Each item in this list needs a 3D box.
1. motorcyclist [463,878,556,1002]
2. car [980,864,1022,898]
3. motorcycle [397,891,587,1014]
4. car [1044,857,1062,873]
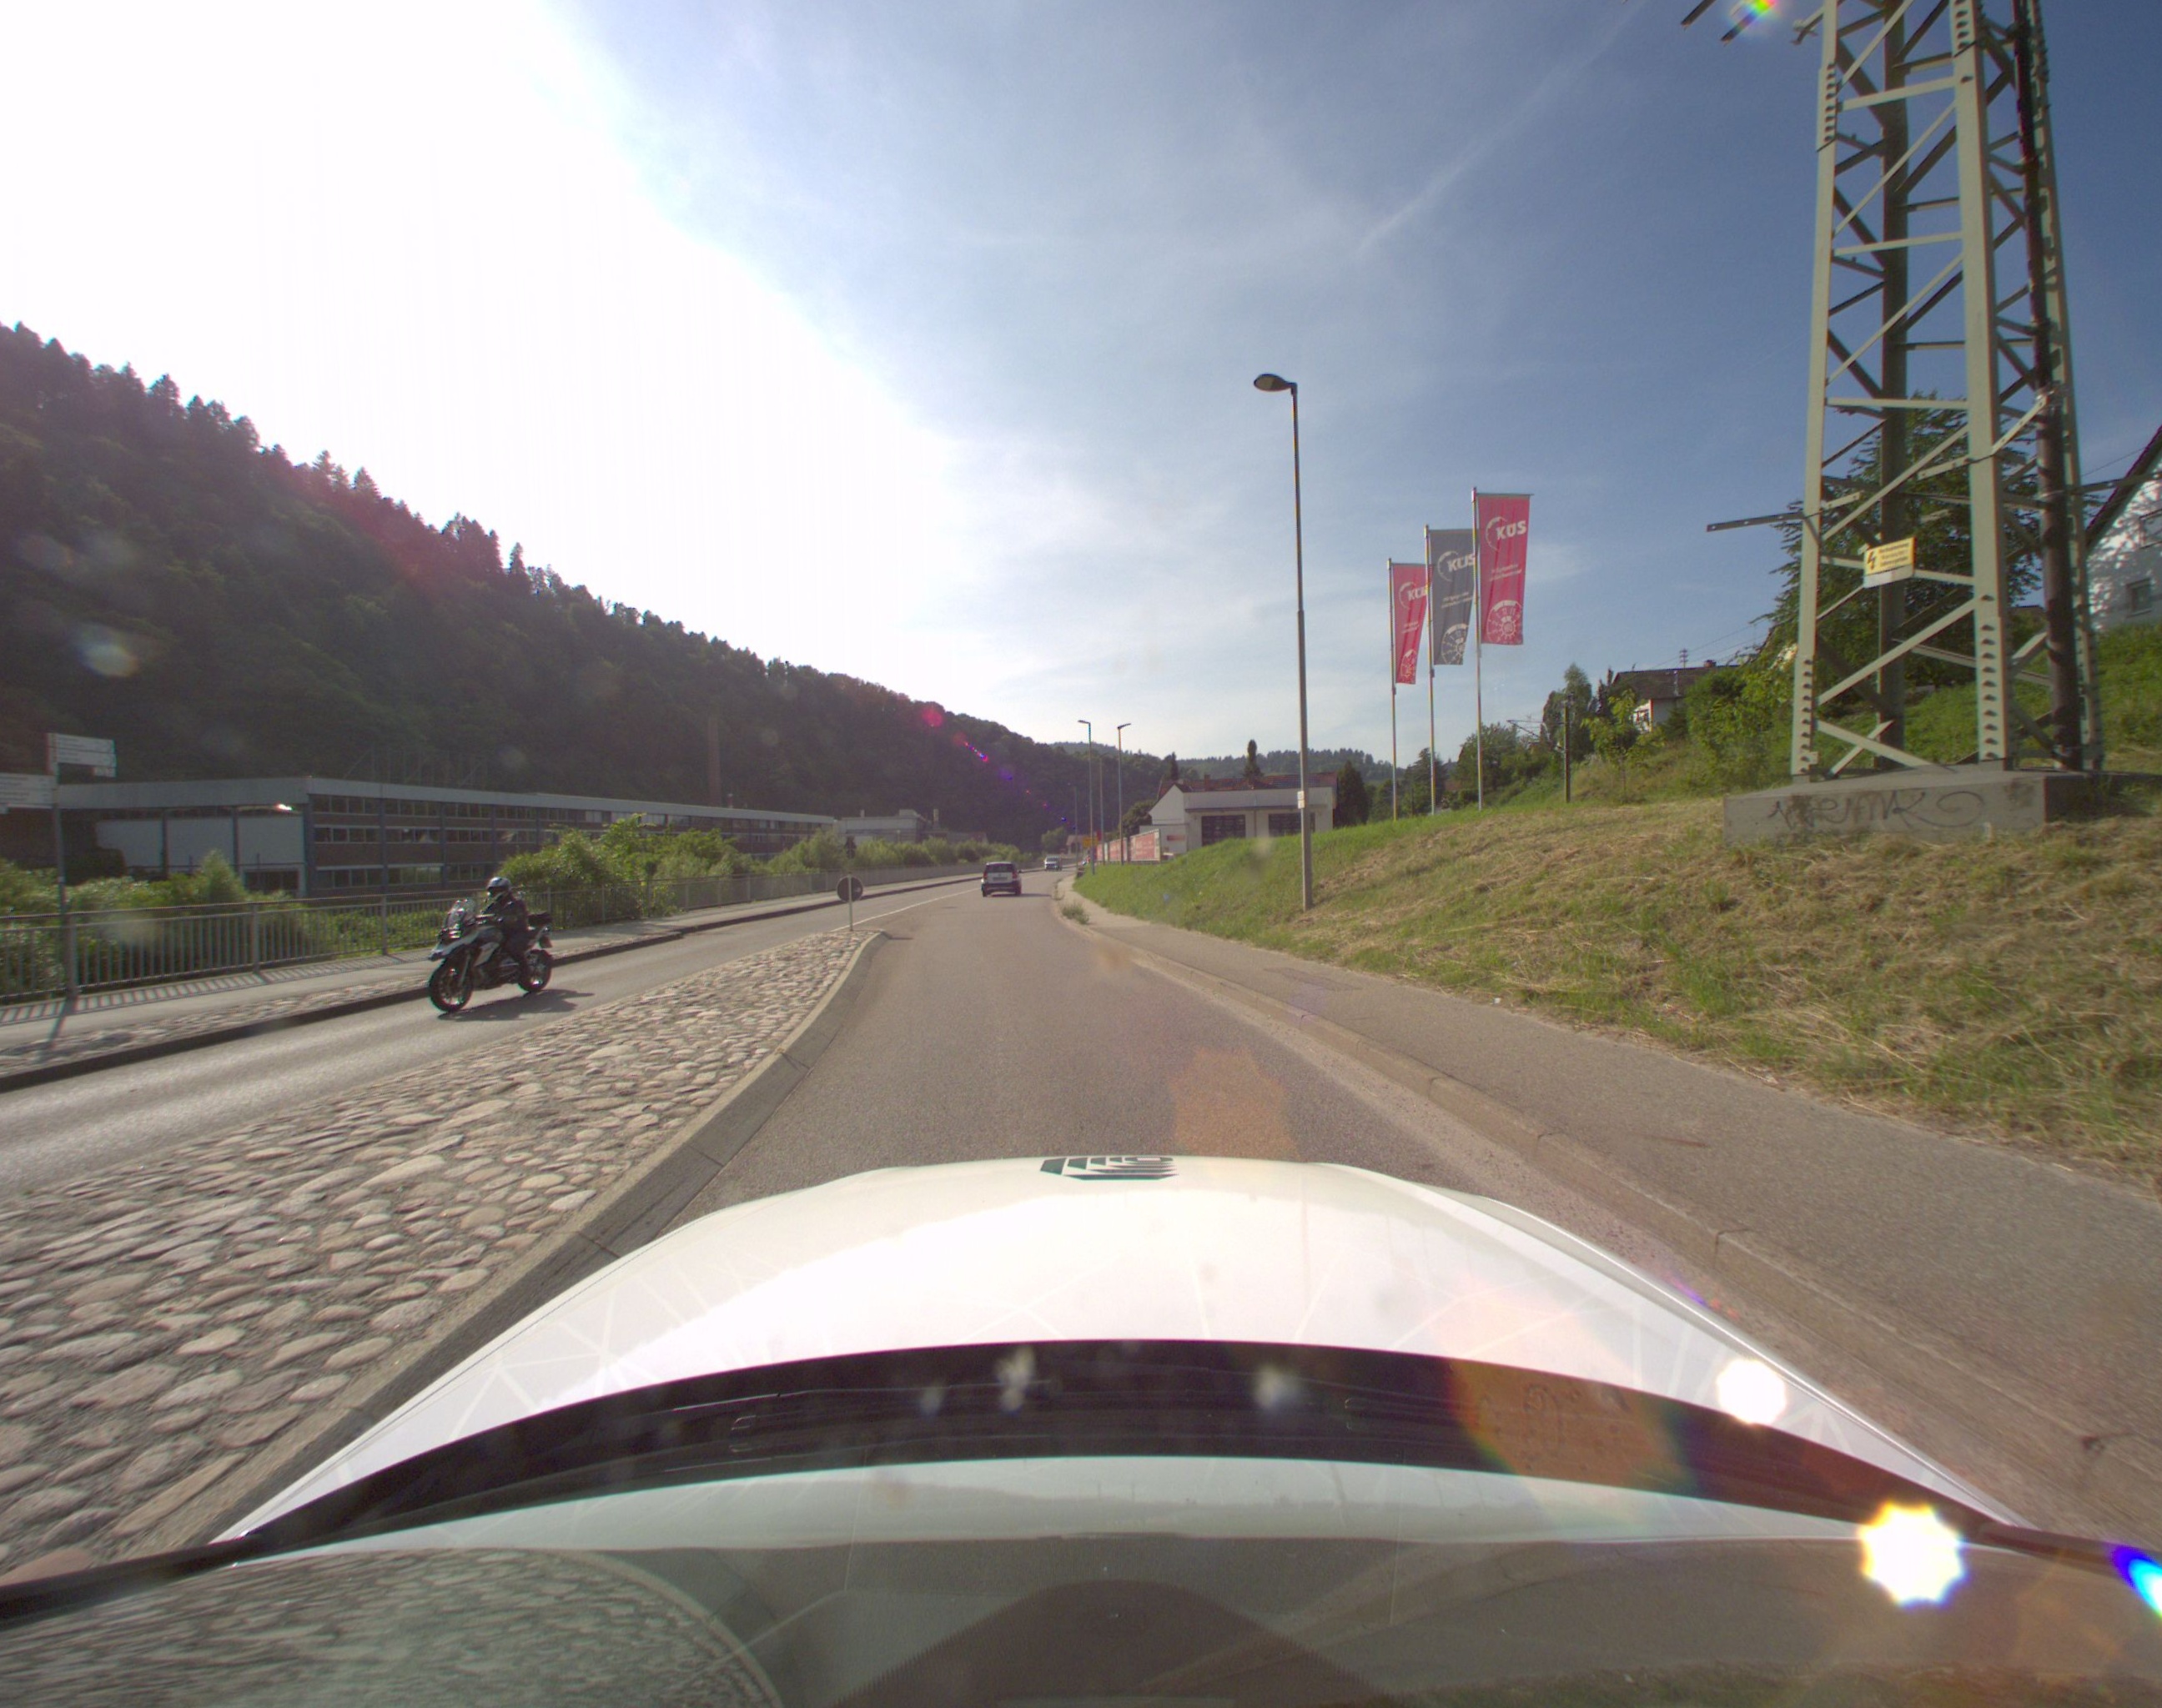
[{"bbox_3d":[-8.114,1.199,11.588,0.759,1.678,0.728,-3,-2,6],"label":"motorcyclist"},{"bbox_3d":[-3.867,1.278,39.954,1.857,1.544,4.366,-1,-1,-4],"label":"car"},{"bbox_3d":[-8.123,1.295,11.409,0.769,1.422,2.322,-3,-1,5],"label":"motorcycle"},{"bbox_3d":[-3.849,1.555,113.319,1.912,1.967,5.150,-2,-1,3],"label":"car"}]
